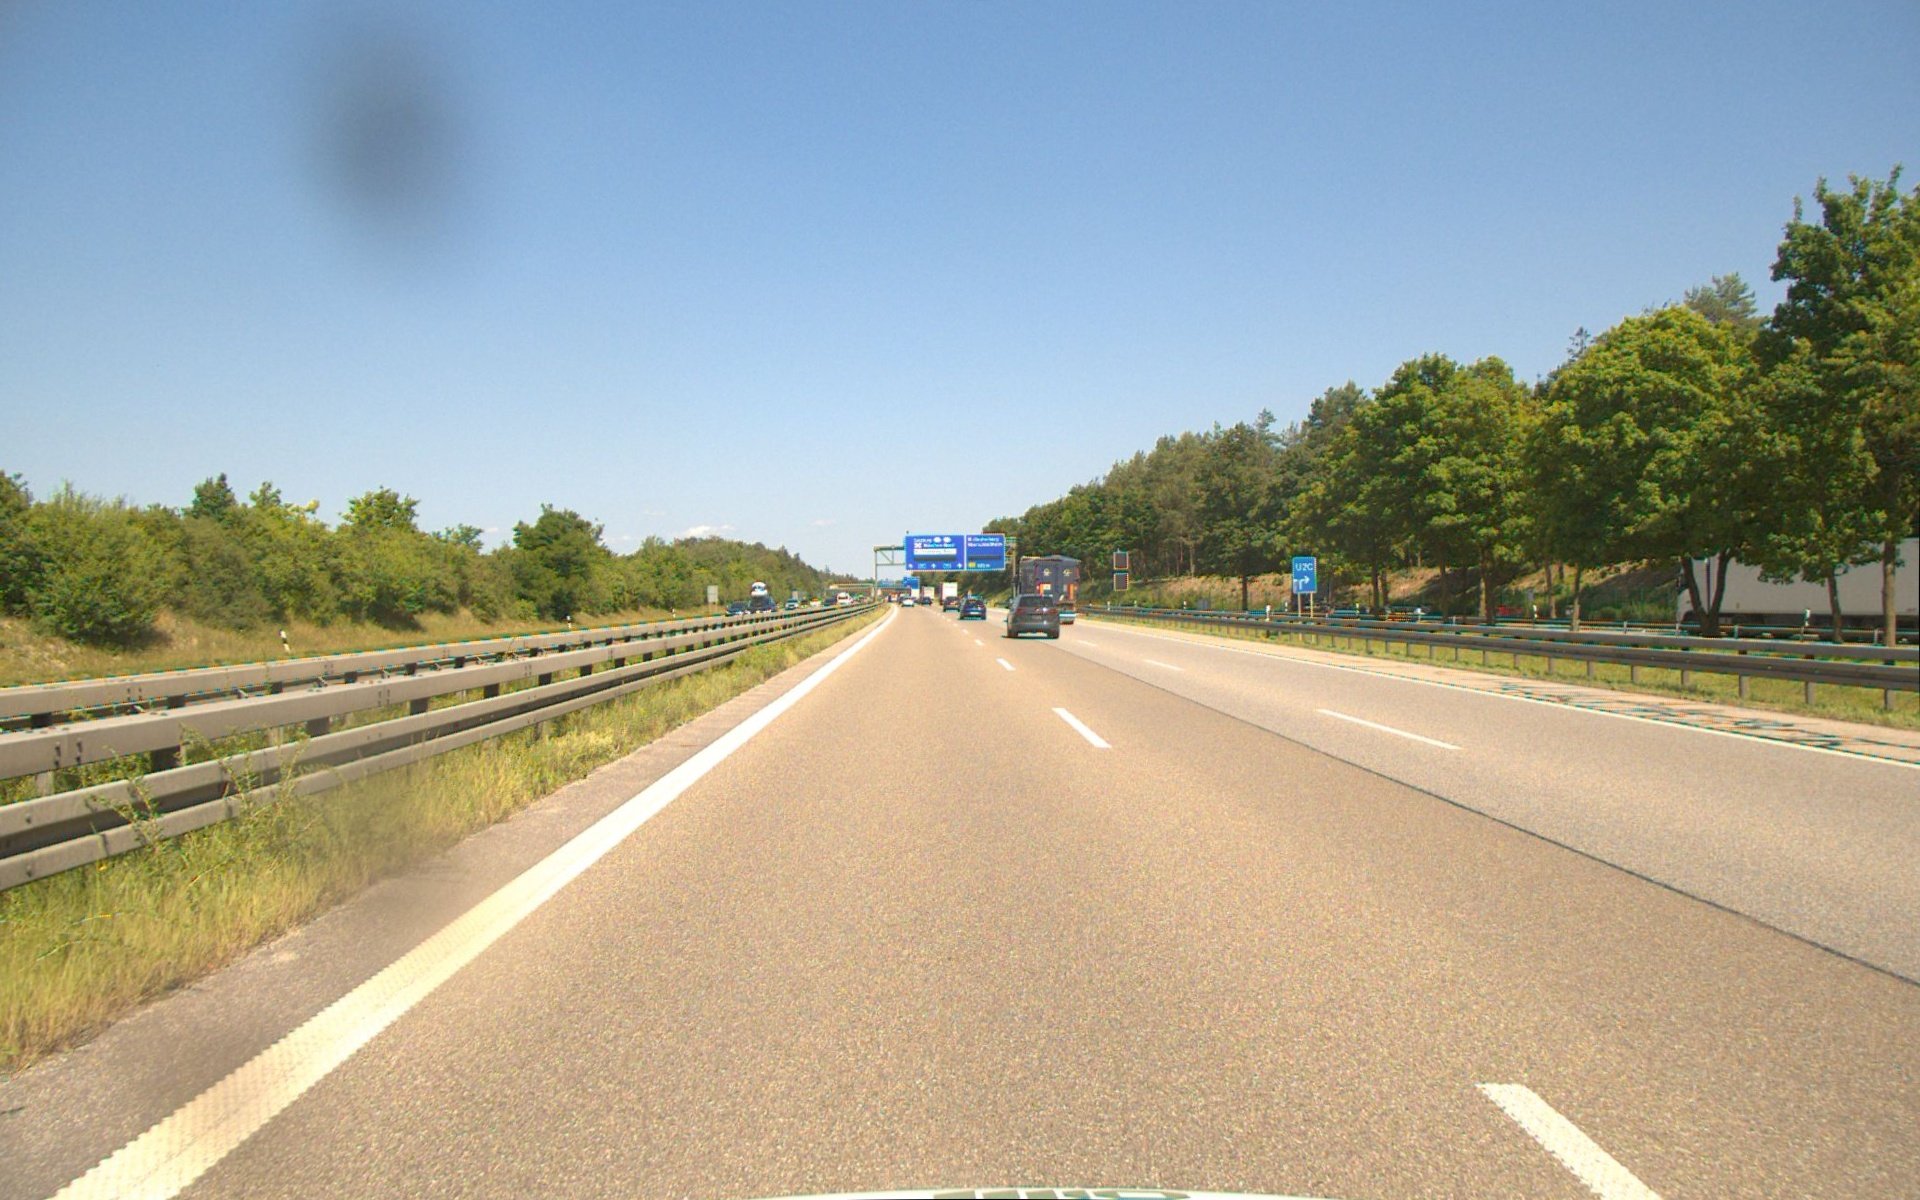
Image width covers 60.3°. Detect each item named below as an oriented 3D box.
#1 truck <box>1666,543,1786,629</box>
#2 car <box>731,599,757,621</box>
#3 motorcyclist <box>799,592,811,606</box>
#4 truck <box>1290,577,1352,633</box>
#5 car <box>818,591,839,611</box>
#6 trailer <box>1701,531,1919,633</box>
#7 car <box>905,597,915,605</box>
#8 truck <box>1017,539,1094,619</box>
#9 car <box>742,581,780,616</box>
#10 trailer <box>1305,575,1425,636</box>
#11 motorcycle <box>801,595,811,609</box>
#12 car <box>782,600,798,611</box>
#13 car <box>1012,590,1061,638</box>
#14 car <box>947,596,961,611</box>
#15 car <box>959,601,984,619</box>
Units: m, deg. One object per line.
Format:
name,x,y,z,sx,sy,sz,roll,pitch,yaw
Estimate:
truck,35.757,-0.610,77.407,2.756,3.863,5.136,0,0,-8
car,-15.859,0.721,121.383,1.482,1.512,3.372,-1,0,-1
motorcyclist,-12.285,-0.071,131.512,0.857,1.095,0.811,-2,0,-1
truck,26.307,0.396,120.581,2.528,3.983,4.848,0,0,-14
car,-14.007,0.117,176.696,1.953,2.049,3.999,0,0,-1
trailer,36.796,-0.672,70.066,2.804,3.863,14.164,0,0,-8
car,-7.212,0.143,238.232,1.441,1.249,3.410,0,0,-1
truck,5.603,-1.205,100.279,3.703,4.499,14.048,0,0,-1
car,-12.938,-0.097,107.580,1.953,2.146,4.301,-1,0,-1
trailer,27.812,0.381,114.454,2.528,3.983,12.702,0,0,-14
motorcycle,-12.239,0.142,131.668,0.650,1.095,1.881,-2,0,-1
car,-22.574,0.747,219.502,1.751,1.464,4.520,0,0,-1
car,2.878,0.500,62.573,1.762,1.698,4.259,1,0,2
car,-0.642,0.369,171.805,1.441,1.422,3.410,2,0,-1
car,0.764,0.672,112.976,1.674,1.176,3.688,0,0,-1
